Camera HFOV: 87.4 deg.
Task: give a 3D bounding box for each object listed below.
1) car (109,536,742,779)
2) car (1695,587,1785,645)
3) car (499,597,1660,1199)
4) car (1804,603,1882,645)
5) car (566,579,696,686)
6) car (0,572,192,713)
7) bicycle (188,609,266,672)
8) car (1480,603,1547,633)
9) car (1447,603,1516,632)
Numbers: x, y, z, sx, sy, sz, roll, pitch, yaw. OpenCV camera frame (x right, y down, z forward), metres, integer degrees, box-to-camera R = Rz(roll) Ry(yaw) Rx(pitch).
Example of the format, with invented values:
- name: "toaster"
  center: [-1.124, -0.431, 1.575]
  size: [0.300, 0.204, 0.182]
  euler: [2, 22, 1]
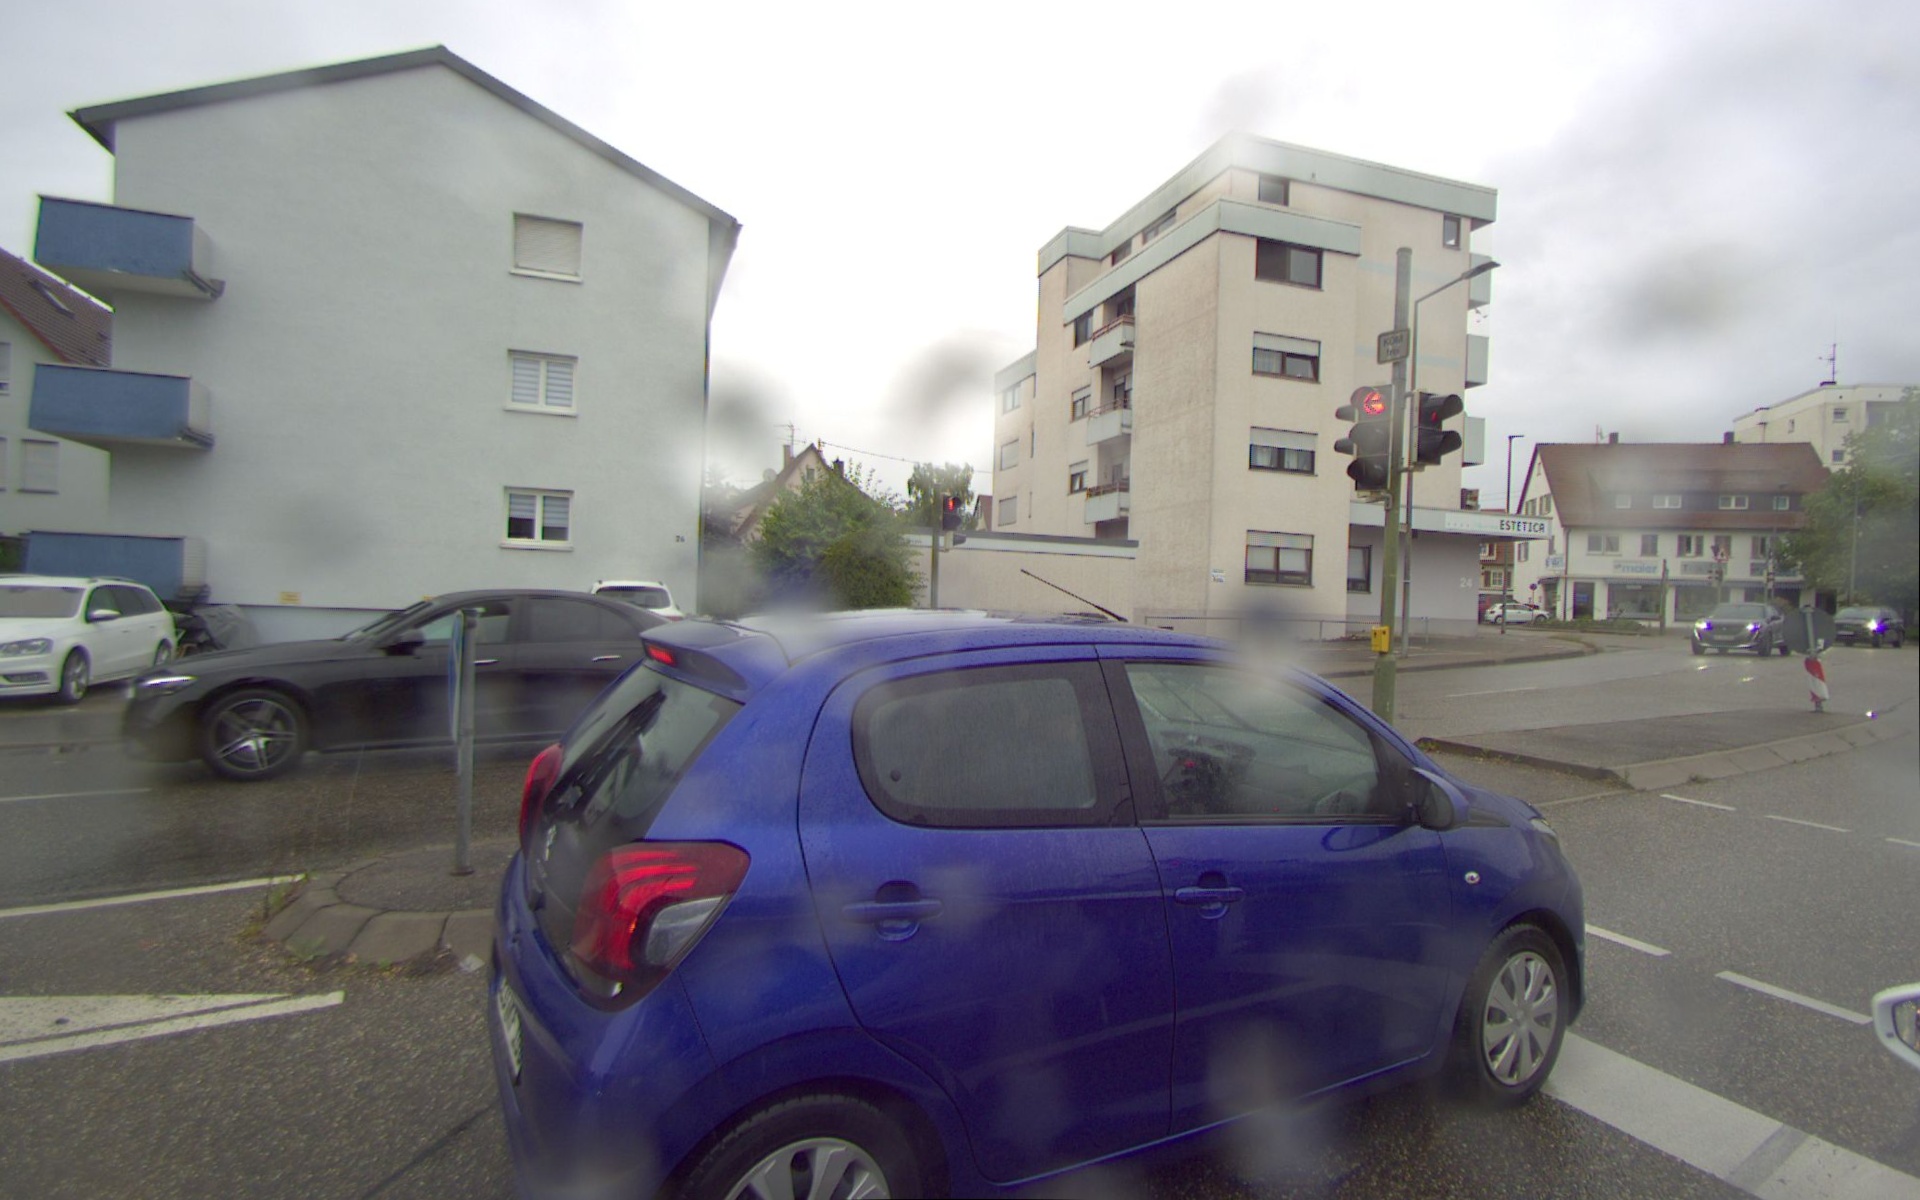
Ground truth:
- name: "car"
  center: [-4.442, 0.437, 8.905]
  size: [4.492, 1.646, 1.981]
  euler: [2, 0, -34]
- name: "car"
  center: [22.866, 0.470, 29.497]
  size: [1.942, 1.532, 3.984]
  euler: [2, 0, 38]
- name: "car"
  center: [0.475, 0.741, 3.096]
  size: [3.324, 1.432, 1.498]
  euler: [1, 1, -30]
- name: "car"
  center: [36.668, 1.000, 41.683]
  size: [4.152, 1.618, 1.862]
  euler: [2, 0, -41]
- name: "car"
  center: [-5.759, 0.508, 17.570]
  size: [1.884, 1.637, 3.982]
  euler: [2, 0, -19]
- name: "car"
  center: [-11.476, 0.455, 12.500]
  size: [1.854, 1.480, 4.732]
  euler: [1, -1, -23]
- name: "bicycle"
  center: [-12.690, 0.688, 17.415]
  size: [1.053, 1.067, 0.345]
  euler: [0, 1, -30]
- name: "car"
  center: [37.920, 1.230, 68.895]
  size: [3.611, 1.946, 1.889]
  euler: [2, 0, 14]
- name: "car"
  center: [37.212, 1.235, 71.725]
  size: [3.987, 1.868, 1.889]
  euler: [2, 0, 14]
